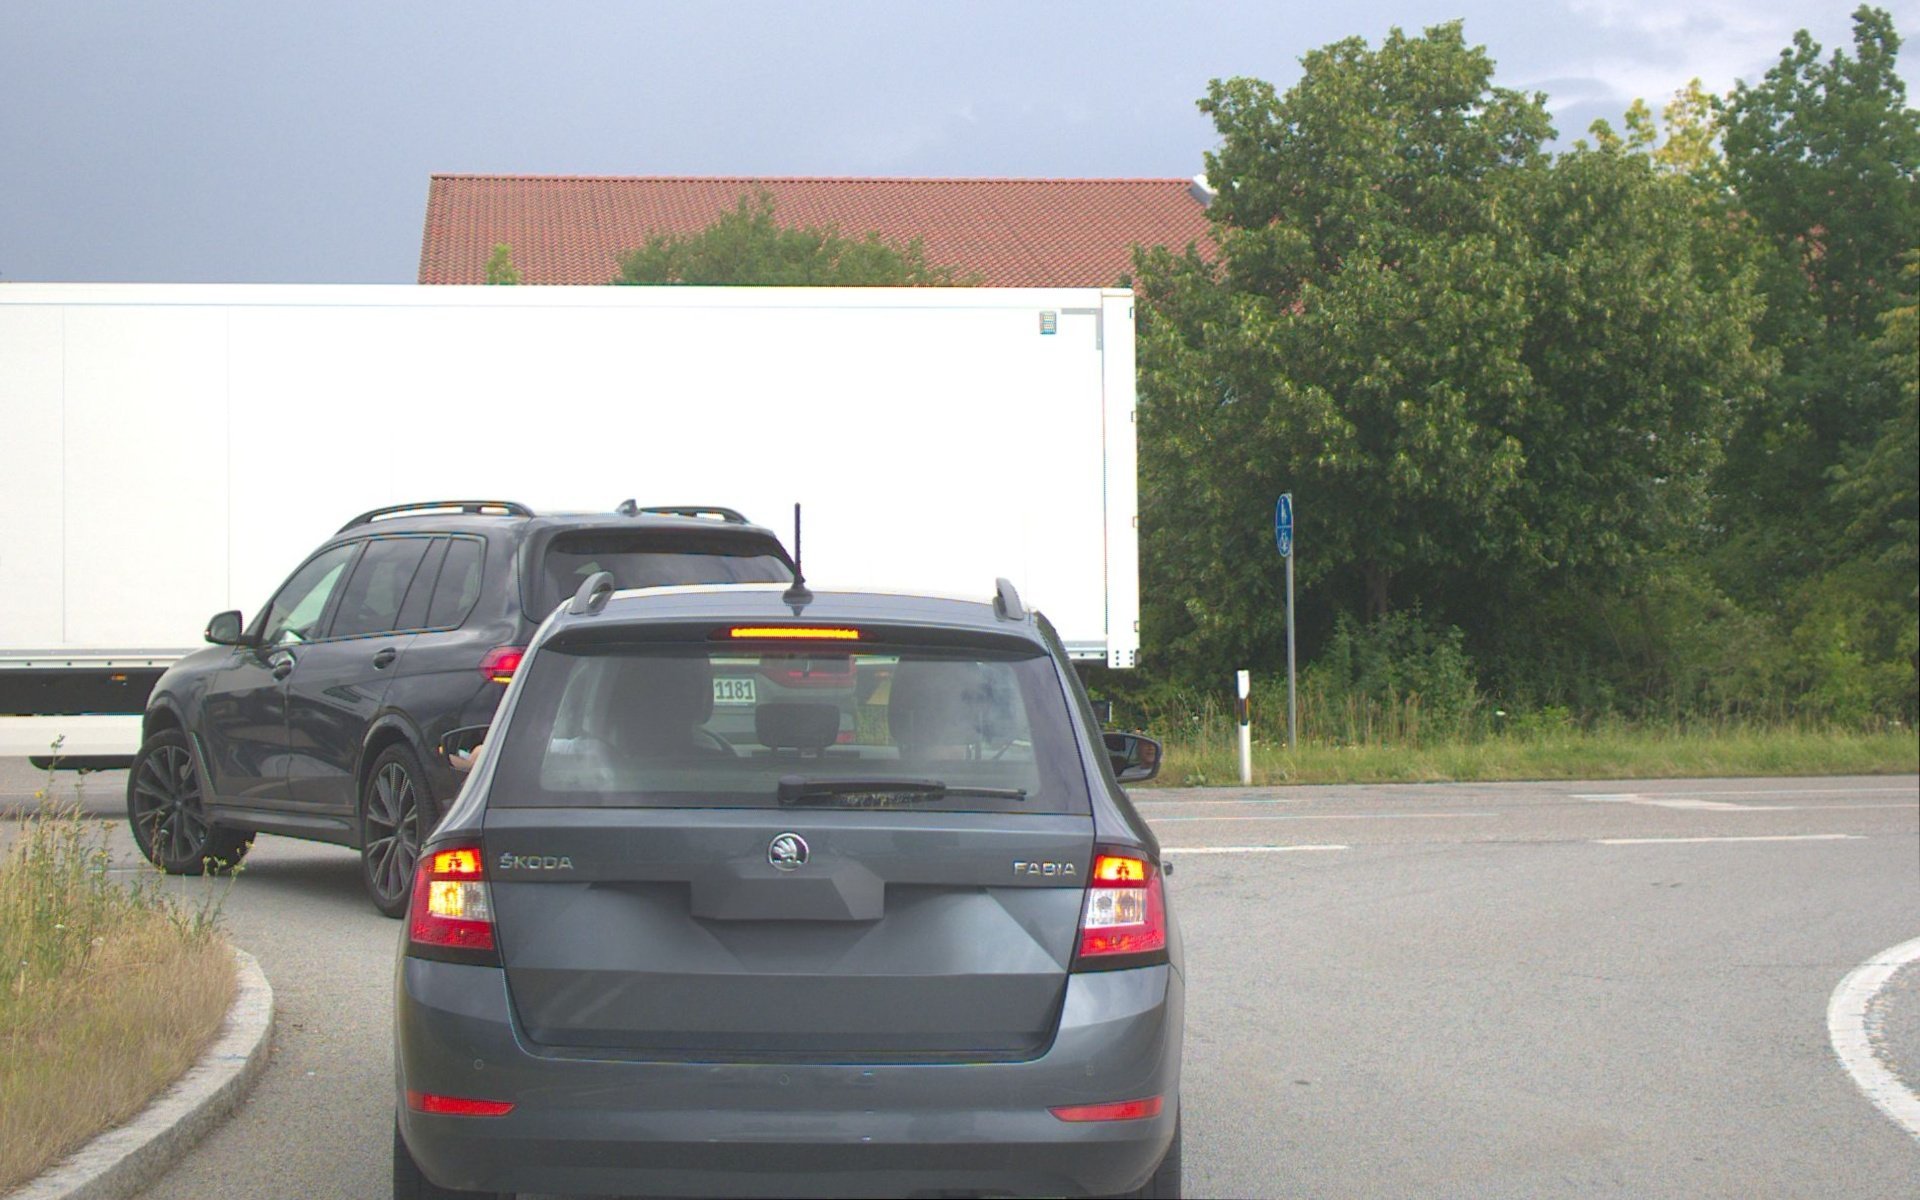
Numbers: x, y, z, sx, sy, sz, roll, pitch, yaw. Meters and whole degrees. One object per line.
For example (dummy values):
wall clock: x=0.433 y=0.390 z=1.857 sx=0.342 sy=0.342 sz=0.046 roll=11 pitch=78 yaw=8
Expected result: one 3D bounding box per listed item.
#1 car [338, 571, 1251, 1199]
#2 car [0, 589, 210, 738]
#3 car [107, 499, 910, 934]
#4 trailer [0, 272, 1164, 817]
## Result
car: x=-0.409 y=0.677 z=8.188 sx=1.676 sy=1.457 sz=3.708 roll=0 pitch=1 yaw=-3
car: x=-13.562 y=0.896 z=49.984 sx=4.907 sy=2.007 sz=2.338 roll=0 pitch=1 yaw=32
car: x=-2.327 y=0.492 z=16.477 sx=1.994 sy=1.768 sz=4.643 roll=0 pitch=-1 yaw=-33
trailer: x=-5.531 y=-0.398 z=27.034 sx=13.838 sy=4.001 sz=3.129 roll=-1 pitch=-1 yaw=-8
